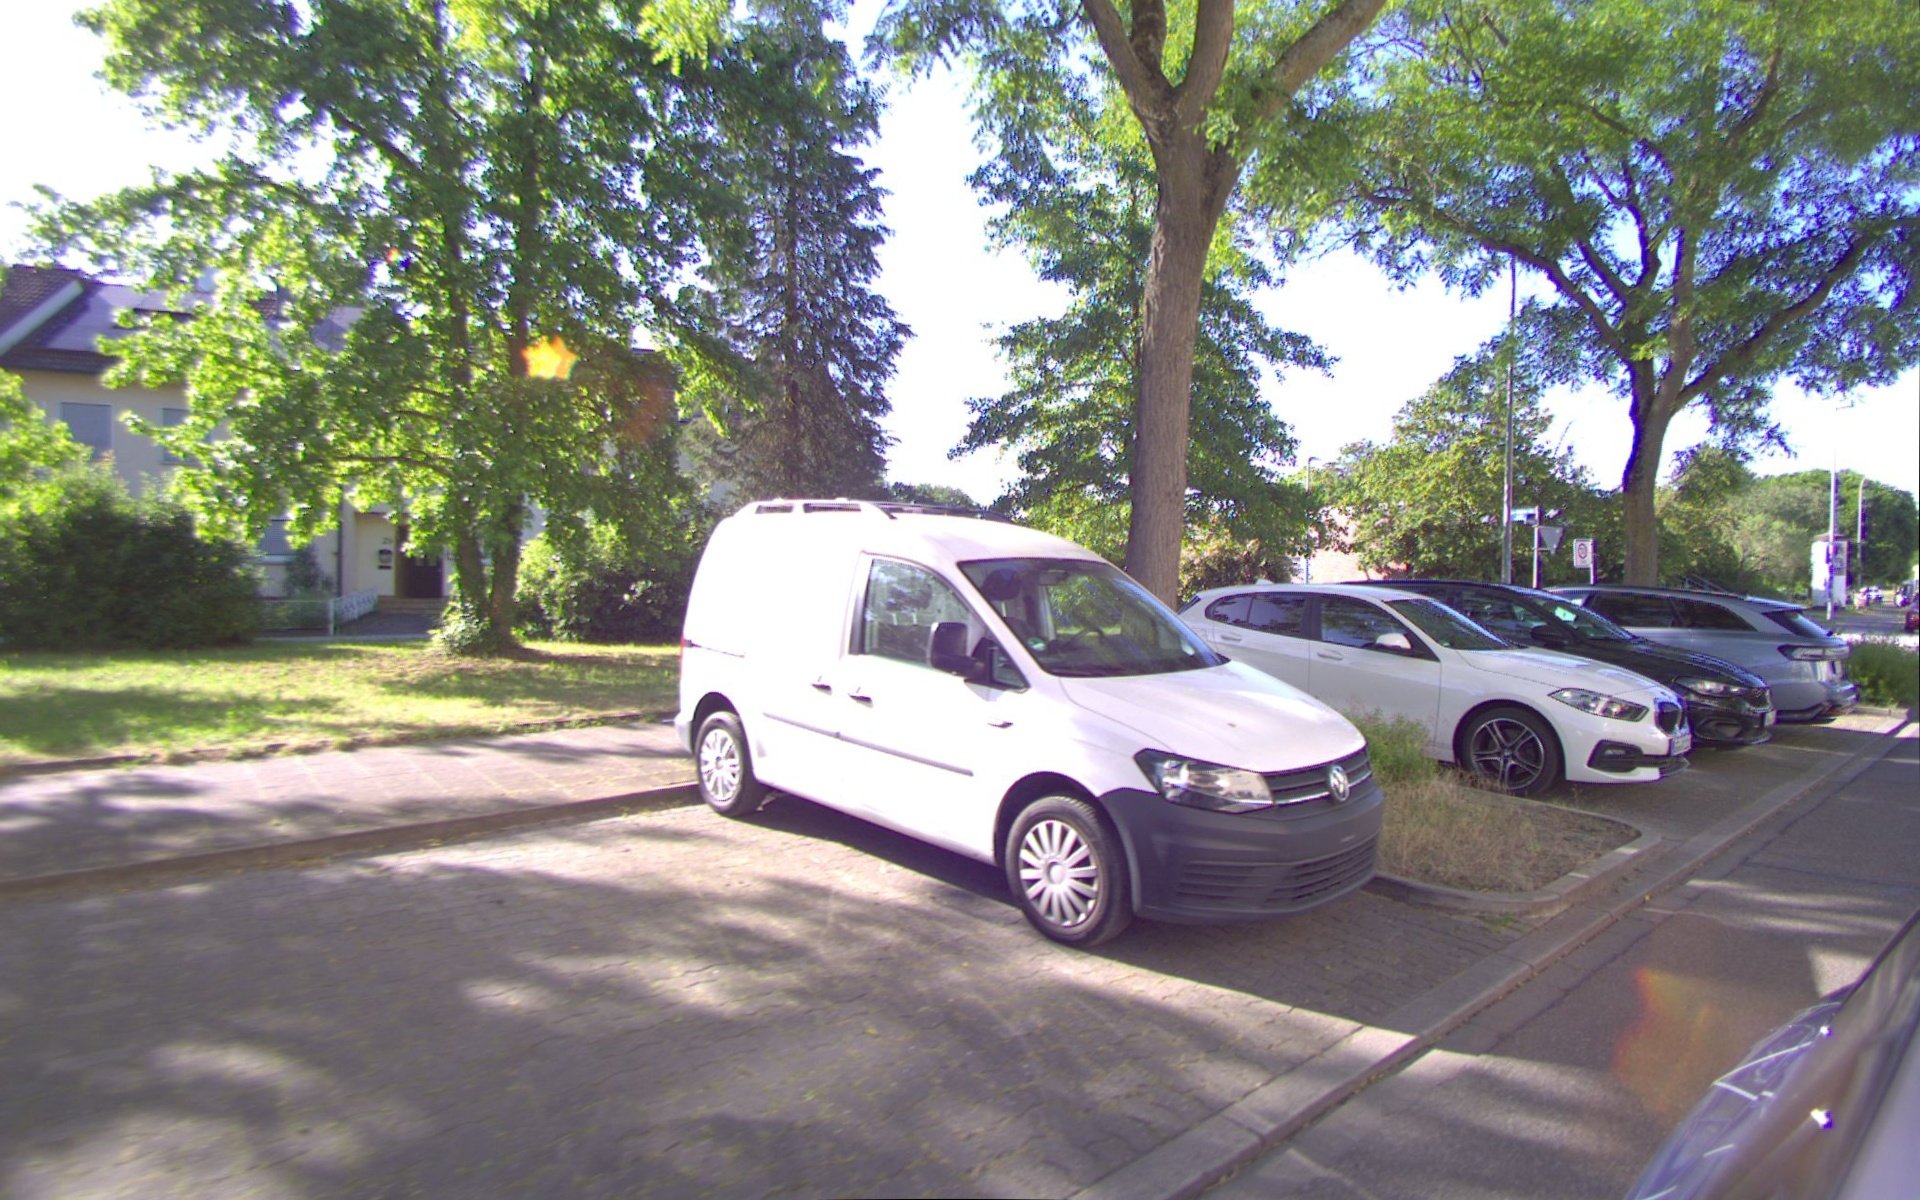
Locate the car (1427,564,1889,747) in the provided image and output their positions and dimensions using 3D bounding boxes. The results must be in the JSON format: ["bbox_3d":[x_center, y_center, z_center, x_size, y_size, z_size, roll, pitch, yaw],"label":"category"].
[{"bbox_3d":[7.858,0.468,11.720,1.715,1.572,4.050,-1,4,-41],"label":"car"}]

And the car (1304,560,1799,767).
[{"bbox_3d":[5.791,0.480,10.303,1.715,1.679,4.047,-1,1,-42],"label":"car"}]

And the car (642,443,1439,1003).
[{"bbox_3d":[0.051,0.317,5.702,1.717,1.945,4.437,-1,3,-44],"label":"car"}]

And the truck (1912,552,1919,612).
[{"bbox_3d":[48.723,-0.821,49.375,8.129,2.835,2.760,-1,4,-44],"label":"truck"}]

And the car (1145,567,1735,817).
[{"bbox_3d":[3.779,0.531,8.584,1.715,1.425,4.147,-1,4,-42],"label":"car"}]
